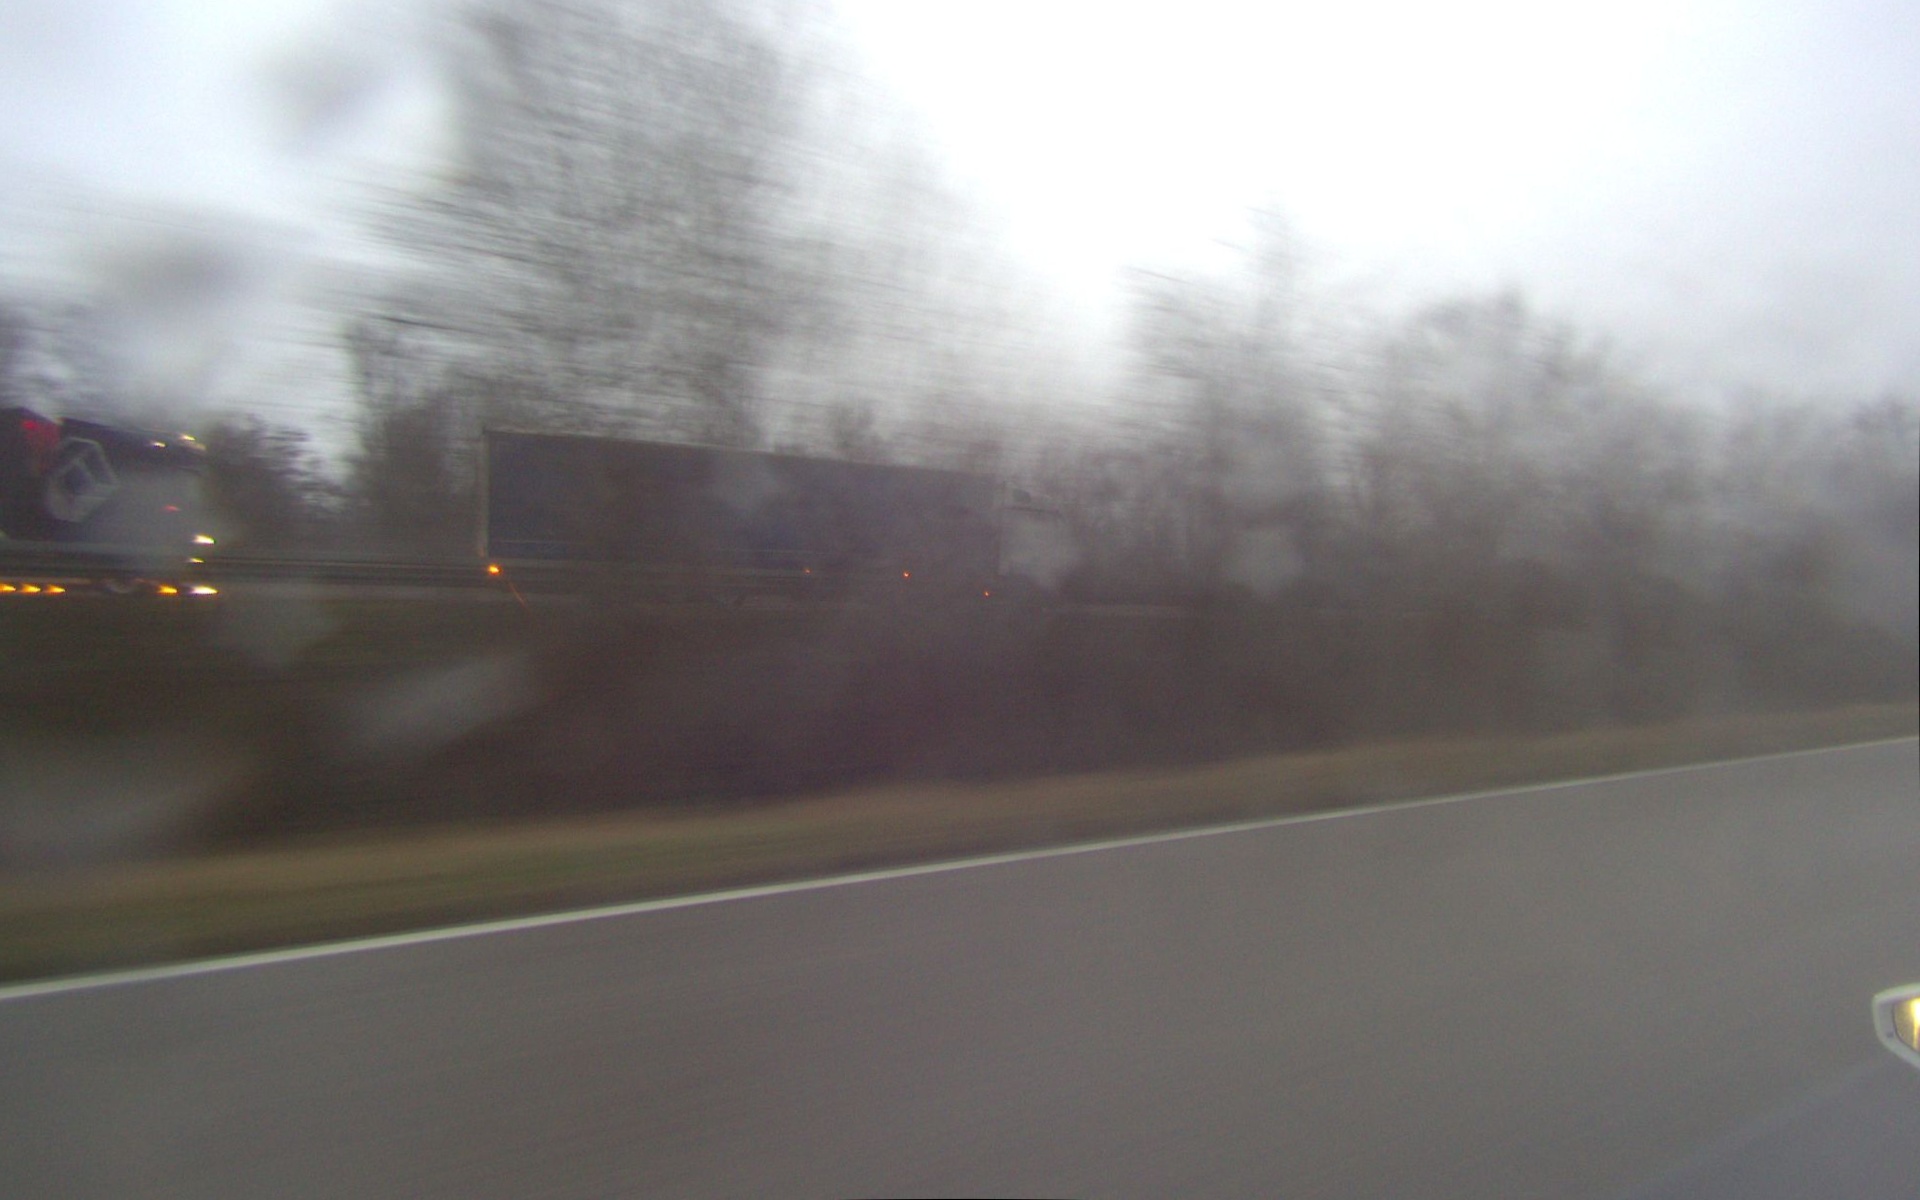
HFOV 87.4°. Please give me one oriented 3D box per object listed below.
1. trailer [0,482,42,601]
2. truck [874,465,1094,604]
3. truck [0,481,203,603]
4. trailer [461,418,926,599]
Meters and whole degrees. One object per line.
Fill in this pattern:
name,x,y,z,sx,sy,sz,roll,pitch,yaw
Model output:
trailer,-25.648,-1.341,19.378,11.366,2.456,2.497,1,-2,-30
truck,0.756,-1.793,30.411,5.997,3.680,2.977,1,-1,-31
truck,-19.875,-1.226,22.784,3.953,2.468,2.518,1,-2,-30
trailer,-6.529,-1.985,26.015,11.256,3.682,2.983,1,-1,-31
